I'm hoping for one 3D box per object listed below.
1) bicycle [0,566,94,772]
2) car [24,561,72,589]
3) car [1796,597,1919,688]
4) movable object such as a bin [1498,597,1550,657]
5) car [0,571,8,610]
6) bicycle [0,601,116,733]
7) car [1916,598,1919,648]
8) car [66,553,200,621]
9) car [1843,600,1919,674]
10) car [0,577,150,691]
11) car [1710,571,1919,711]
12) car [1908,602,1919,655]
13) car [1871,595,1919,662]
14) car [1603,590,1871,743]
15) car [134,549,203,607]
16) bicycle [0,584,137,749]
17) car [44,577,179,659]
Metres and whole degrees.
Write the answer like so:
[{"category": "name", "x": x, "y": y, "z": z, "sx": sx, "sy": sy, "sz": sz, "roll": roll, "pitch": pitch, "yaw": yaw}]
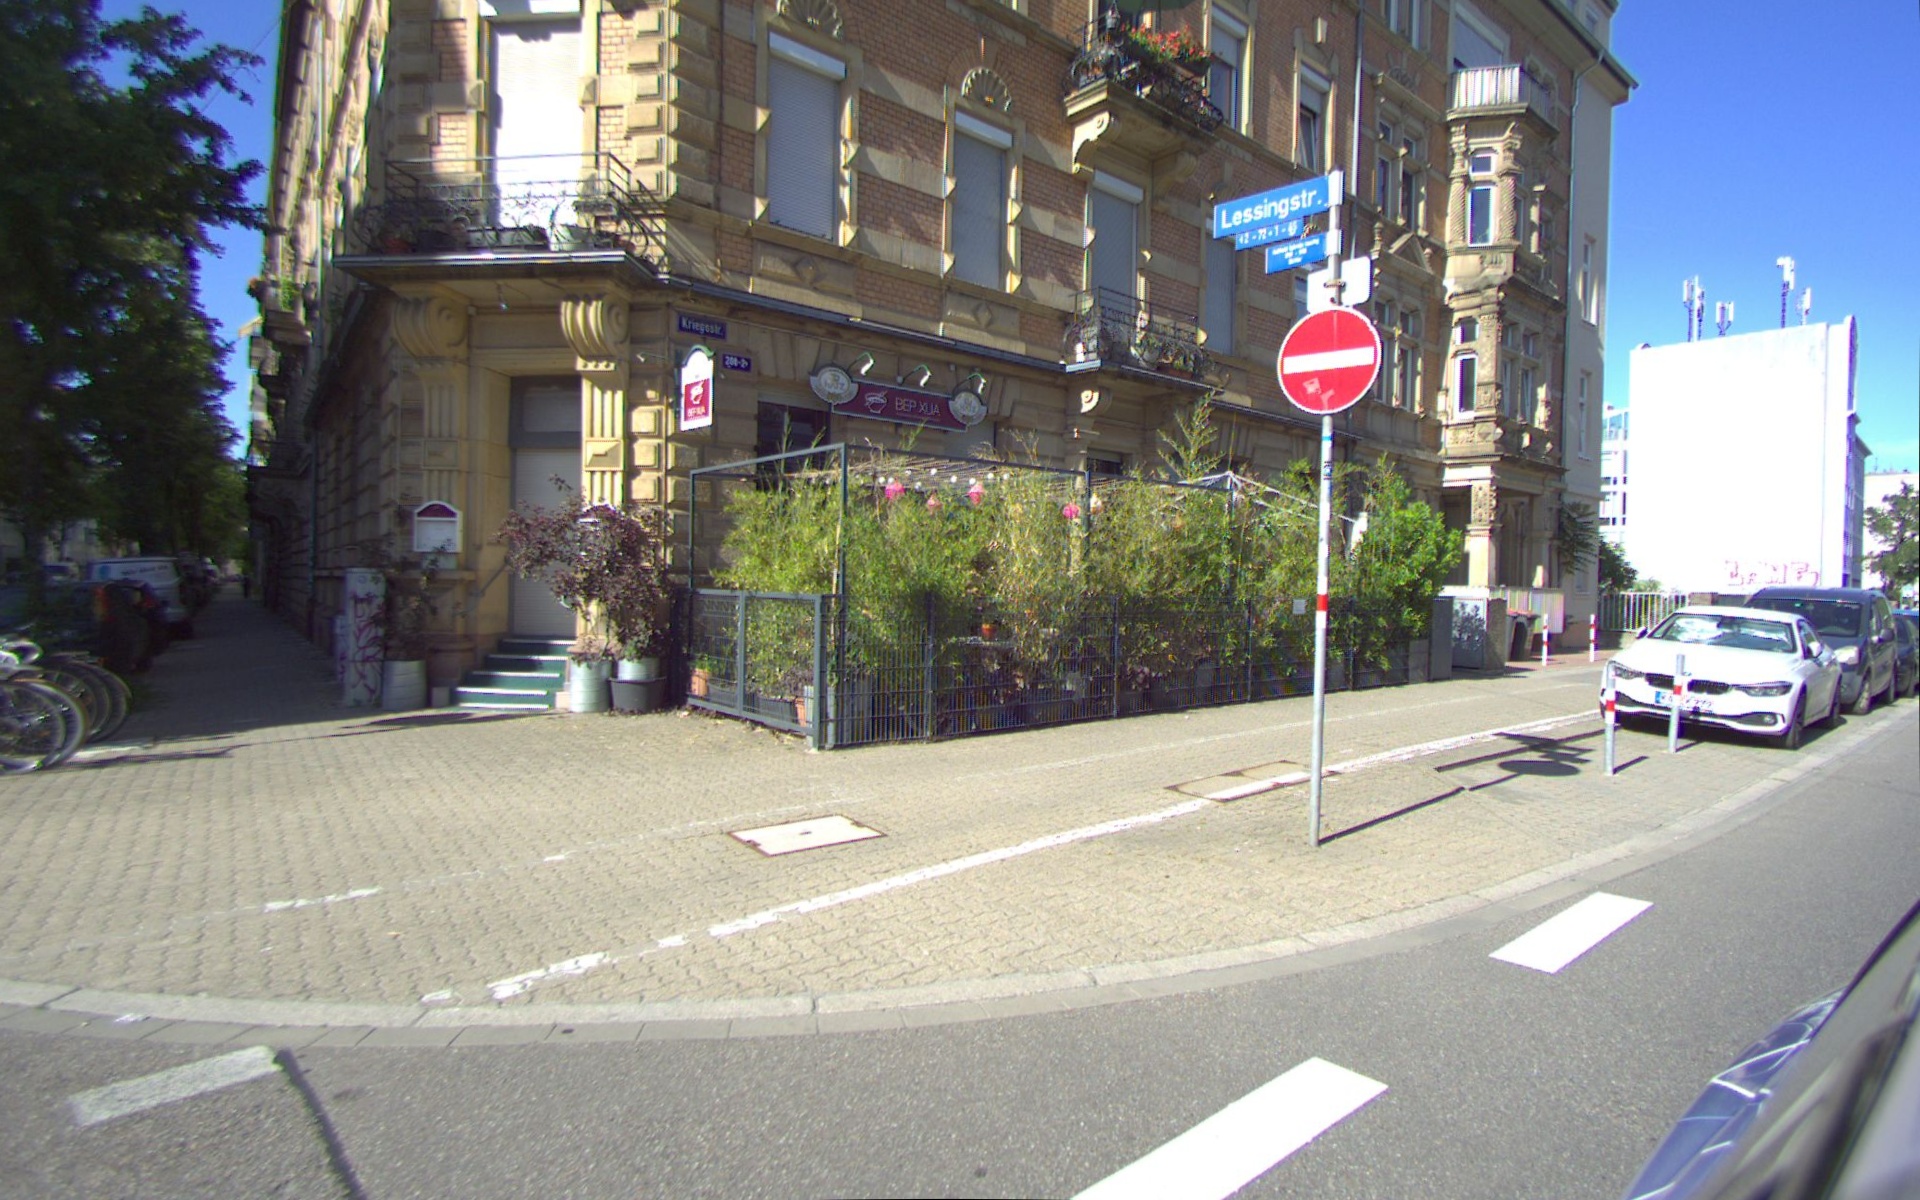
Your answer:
[{"category": "bicycle", "x": -7.173, "y": 0.468, "z": 6.805, "sx": 2.031, "sy": 1.415, "sz": 0.579, "roll": 0, "pitch": 1, "yaw": -41}, {"category": "car", "x": -59.889, "y": -1.638, "z": 66.547, "sx": 1.726, "sy": 1.686, "sz": 4.001, "roll": -3, "pitch": 2, "yaw": -34}, {"category": "car", "x": 16.908, "y": 0.714, "z": 18.593, "sx": 4.198, "sy": 1.486, "sz": 1.671, "roll": 1, "pitch": 0, "yaw": -40}, {"category": "movable object such as a bin", "x": 11.612, "y": 0.535, "z": 20.836, "sx": 0.598, "sy": 1.171, "sz": 0.760, "roll": -3, "pitch": 2, "yaw": -40}, {"category": "car", "x": -37.536, "y": -0.323, "z": 38.122, "sx": 1.726, "sy": 1.544, "sz": 4.001, "roll": -3, "pitch": 2, "yaw": -34}, {"category": "bicycle", "x": -8.548, "y": 0.571, "z": 8.658, "sx": 2.031, "sy": 1.108, "sz": 0.579, "roll": 0, "pitch": 1, "yaw": -41}, {"category": "car", "x": 31.354, "y": 0.726, "z": 31.905, "sx": 1.669, "sy": 1.538, "sz": 3.602, "roll": 2, "pitch": 1, "yaw": 44}, {"category": "car", "x": -19.659, "y": -0.327, "z": 24.260, "sx": 2.061, "sy": 1.451, "sz": 4.835, "roll": -1, "pitch": 1, "yaw": -34}, {"category": "car", "x": 20.171, "y": 0.776, "z": 21.614, "sx": 3.243, "sy": 1.490, "sz": 1.622, "roll": 1, "pitch": -4, "yaw": -43}, {"category": "car", "x": -12.905, "y": 0.409, "z": 14.559, "sx": 1.685, "sy": 1.451, "sz": 3.407, "roll": -1, "pitch": 1, "yaw": -34}, {"category": "car", "x": 13.331, "y": 0.547, "z": 15.635, "sx": 4.286, "sy": 1.867, "sz": 1.823, "roll": 1, "pitch": 1, "yaw": -40}, {"category": "car", "x": 27.651, "y": 0.806, "z": 28.140, "sx": 3.712, "sy": 1.411, "sz": 1.670, "roll": 1, "pitch": 1, "yaw": -44}, {"category": "car", "x": 23.895, "y": 0.693, "z": 24.841, "sx": 4.409, "sy": 1.538, "sz": 1.937, "roll": 1, "pitch": 1, "yaw": -44}, {"category": "car", "x": 9.344, "y": 0.666, "z": 12.047, "sx": 4.132, "sy": 1.443, "sz": 1.713, "roll": 1, "pitch": 3, "yaw": -41}, {"category": "car", "x": -34.945, "y": -0.978, "z": 44.795, "sx": 2.061, "sy": 2.406, "sz": 4.835, "roll": -1, "pitch": 1, "yaw": -34}, {"category": "bicycle", "x": -7.678, "y": 0.507, "z": 7.815, "sx": 2.031, "sy": 1.251, "sz": 0.579, "roll": 0, "pitch": 1, "yaw": -41}, {"category": "car", "x": -16.544, "y": 0.285, "z": 19.888, "sx": 1.685, "sy": 1.451, "sz": 3.407, "roll": -1, "pitch": 1, "yaw": -34}]
